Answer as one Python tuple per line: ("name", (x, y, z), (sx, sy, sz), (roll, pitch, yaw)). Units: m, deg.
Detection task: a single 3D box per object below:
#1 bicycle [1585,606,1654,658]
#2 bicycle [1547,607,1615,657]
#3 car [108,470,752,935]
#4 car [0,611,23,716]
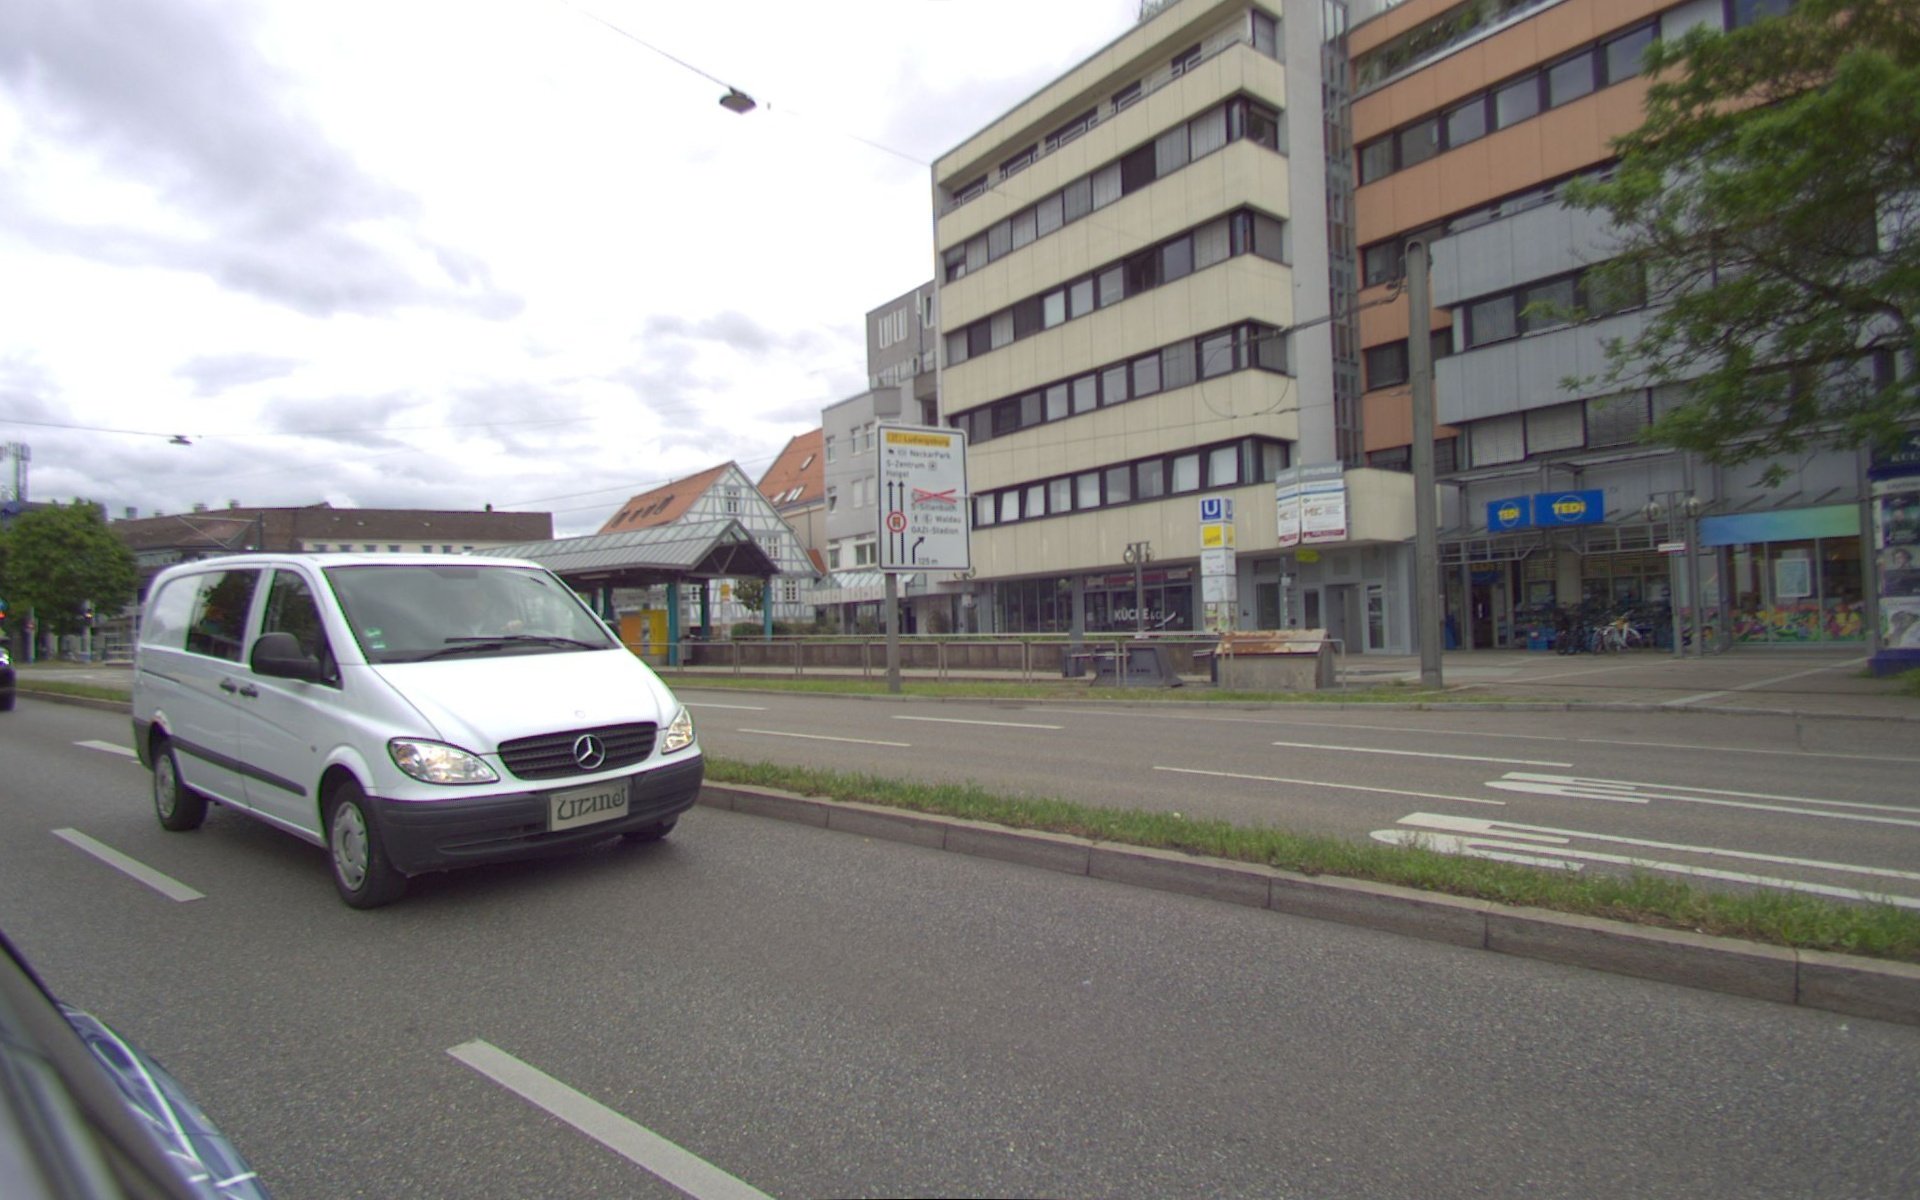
("bicycle", (17.653, 0.843, 27.082), (1.940, 1.329, 0.708), (0, -2, -29))
("bicycle", (17.162, 0.873, 27.948), (1.940, 1.329, 0.708), (0, -2, -29))
("car", (-3.783, 0.556, 6.726), (5.068, 2.029, 1.856), (-3, -3, 38))
("car", (-18.539, 1.174, 17.981), (4.669, 1.764, 1.905), (-2, 0, 36))
